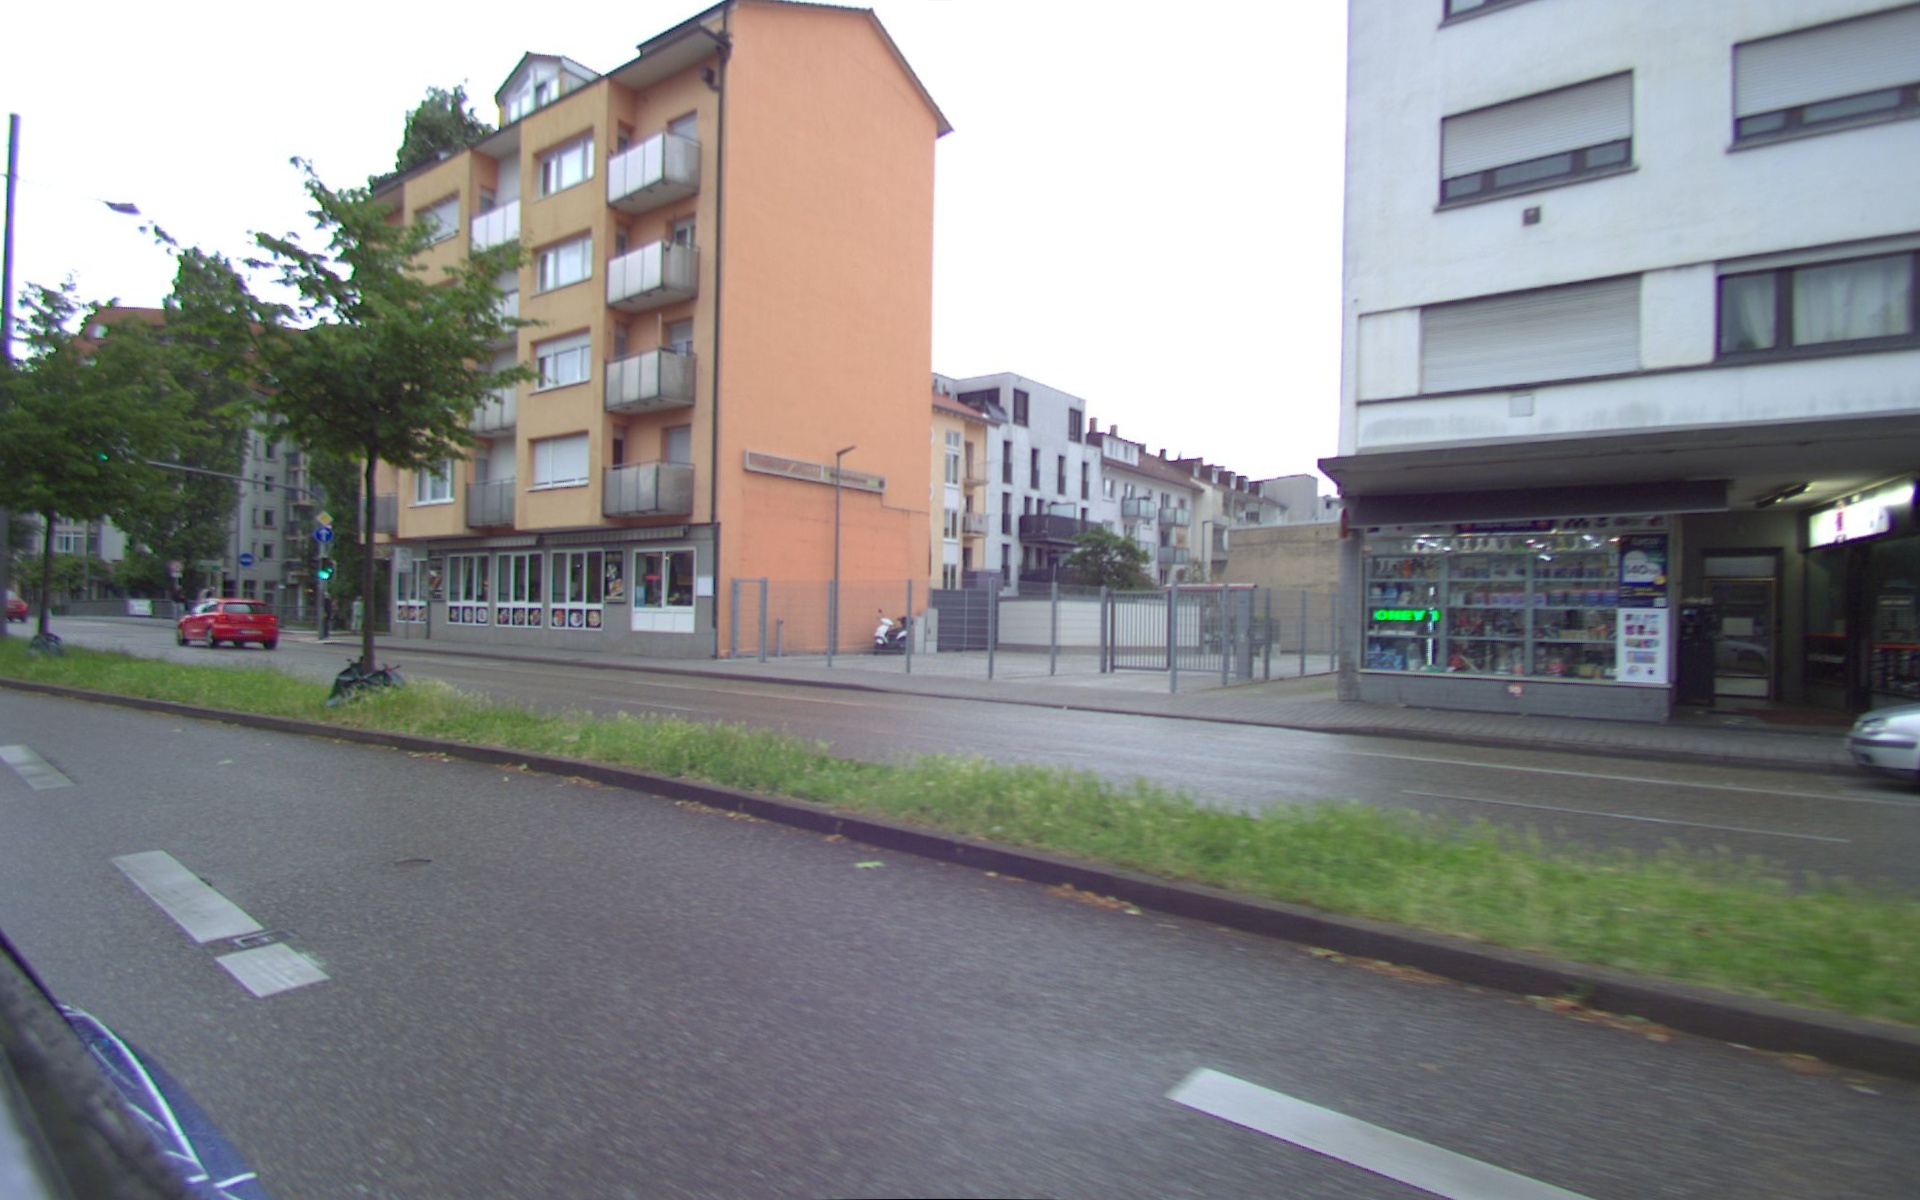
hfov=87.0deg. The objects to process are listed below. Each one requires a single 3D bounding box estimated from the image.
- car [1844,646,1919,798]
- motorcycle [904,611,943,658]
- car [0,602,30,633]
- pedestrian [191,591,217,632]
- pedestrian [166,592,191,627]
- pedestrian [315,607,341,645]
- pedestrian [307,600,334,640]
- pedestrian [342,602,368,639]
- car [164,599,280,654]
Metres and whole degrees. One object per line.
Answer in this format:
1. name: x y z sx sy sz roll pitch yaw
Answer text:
1. car: 10.787 1.180 9.086 4.145 1.402 1.660 0 -4 37
2. motorcycle: -1.187 1.156 33.514 0.396 1.473 1.449 1 -3 38
3. car: -45.039 0.773 47.320 3.828 1.404 1.552 0 -3 37
4. pedestrian: -35.584 0.535 47.654 0.798 1.901 0.738 0 -2 35
5. pedestrian: -38.612 0.490 50.013 0.798 1.708 0.758 0 -1 35
6. pedestrian: -28.738 1.198 46.020 0.675 1.703 0.745 1 -1 6
7. pedestrian: -23.997 0.740 37.974 0.604 1.452 0.557 -1 2 19
8. pedestrian: -27.600 0.936 46.202 0.736 1.661 0.683 1 -1 1
9. car: -21.921 0.778 30.019 3.937 1.441 1.589 1 -3 36
